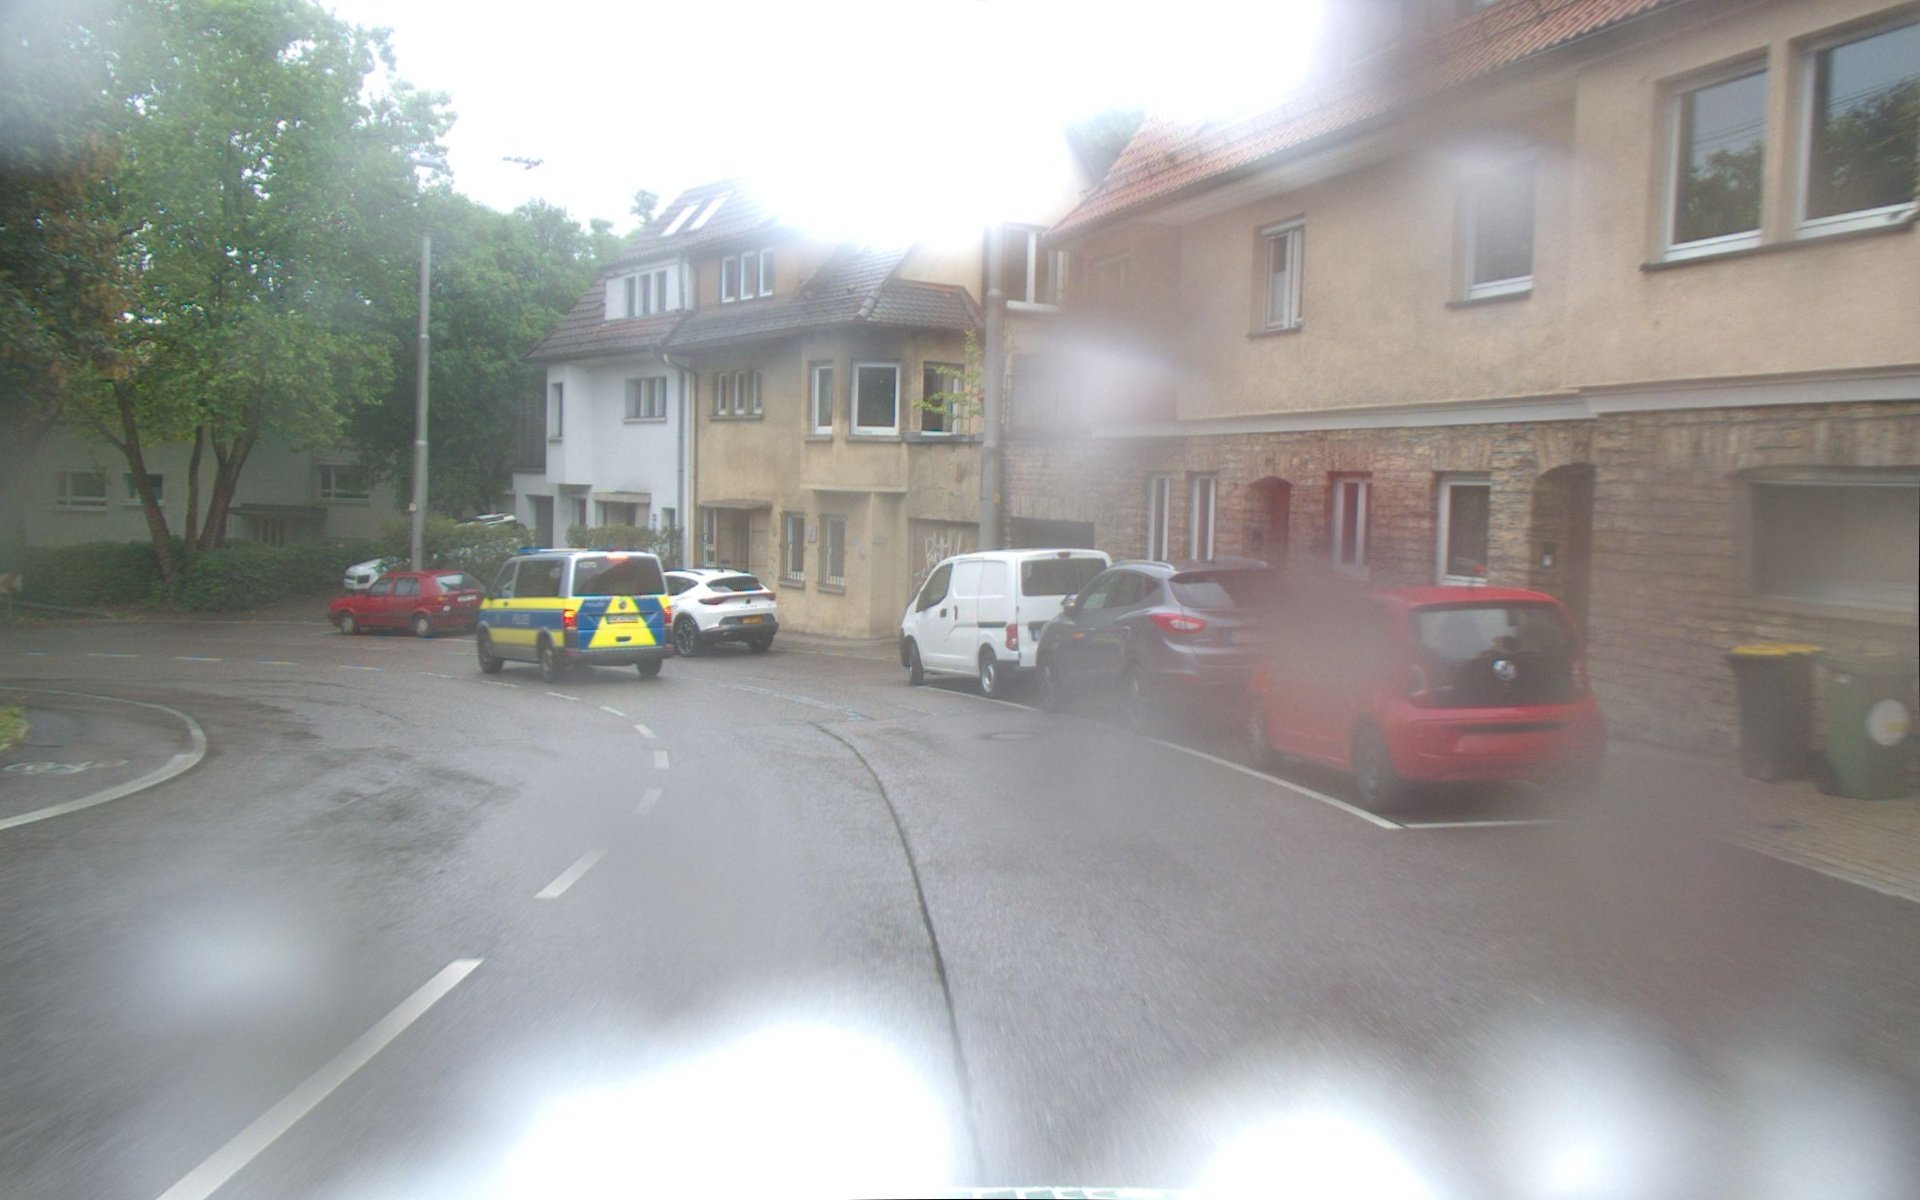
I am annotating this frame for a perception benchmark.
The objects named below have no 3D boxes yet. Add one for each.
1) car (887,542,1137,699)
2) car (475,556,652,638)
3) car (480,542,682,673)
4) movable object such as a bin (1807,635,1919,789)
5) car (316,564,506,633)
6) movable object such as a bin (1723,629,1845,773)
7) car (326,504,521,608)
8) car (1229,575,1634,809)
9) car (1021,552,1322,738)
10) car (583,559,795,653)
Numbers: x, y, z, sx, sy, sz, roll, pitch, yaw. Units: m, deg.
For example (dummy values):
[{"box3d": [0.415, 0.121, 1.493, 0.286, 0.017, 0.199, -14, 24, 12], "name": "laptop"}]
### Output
[{"box3d": [0.575, 0.184, 22.287, 1.682, 1.822, 4.296, -3, 3, -23], "name": "car"}, {"box3d": [-8.317, -0.070, 34.542, 3.755, 1.541, 1.760, 0, 3, 42], "name": "car"}, {"box3d": [-6.224, 0.132, 26.763, 1.973, 1.926, 4.524, 0, -1, -30], "name": "car"}, {"box3d": [6.062, 0.730, 10.969, 0.584, 0.939, 0.513, -3, 2, -7], "name": "movable object such as a bin"}, {"box3d": [-12.483, -0.028, 37.566, 4.104, 1.390, 1.783, -1, 3, 30], "name": "car"}, {"box3d": [5.858, 0.705, 11.767, 0.576, 0.939, 0.507, -3, 2, -7], "name": "movable object such as a bin"}, {"box3d": [-14.203, -1.230, 43.879, 4.361, 1.871, 1.979, -14, 10, -31], "name": "car"}, {"box3d": [3.348, 0.563, 12.450, 1.585, 1.460, 3.574, -1, 1, -9], "name": "car"}, {"box3d": [2.075, 0.346, 17.544, 1.588, 1.632, 4.394, -3, 3, -15], "name": "car"}, {"box3d": [-5.171, 0.078, 31.199, 1.904, 1.565, 4.348, -4, 3, -41], "name": "car"}]
